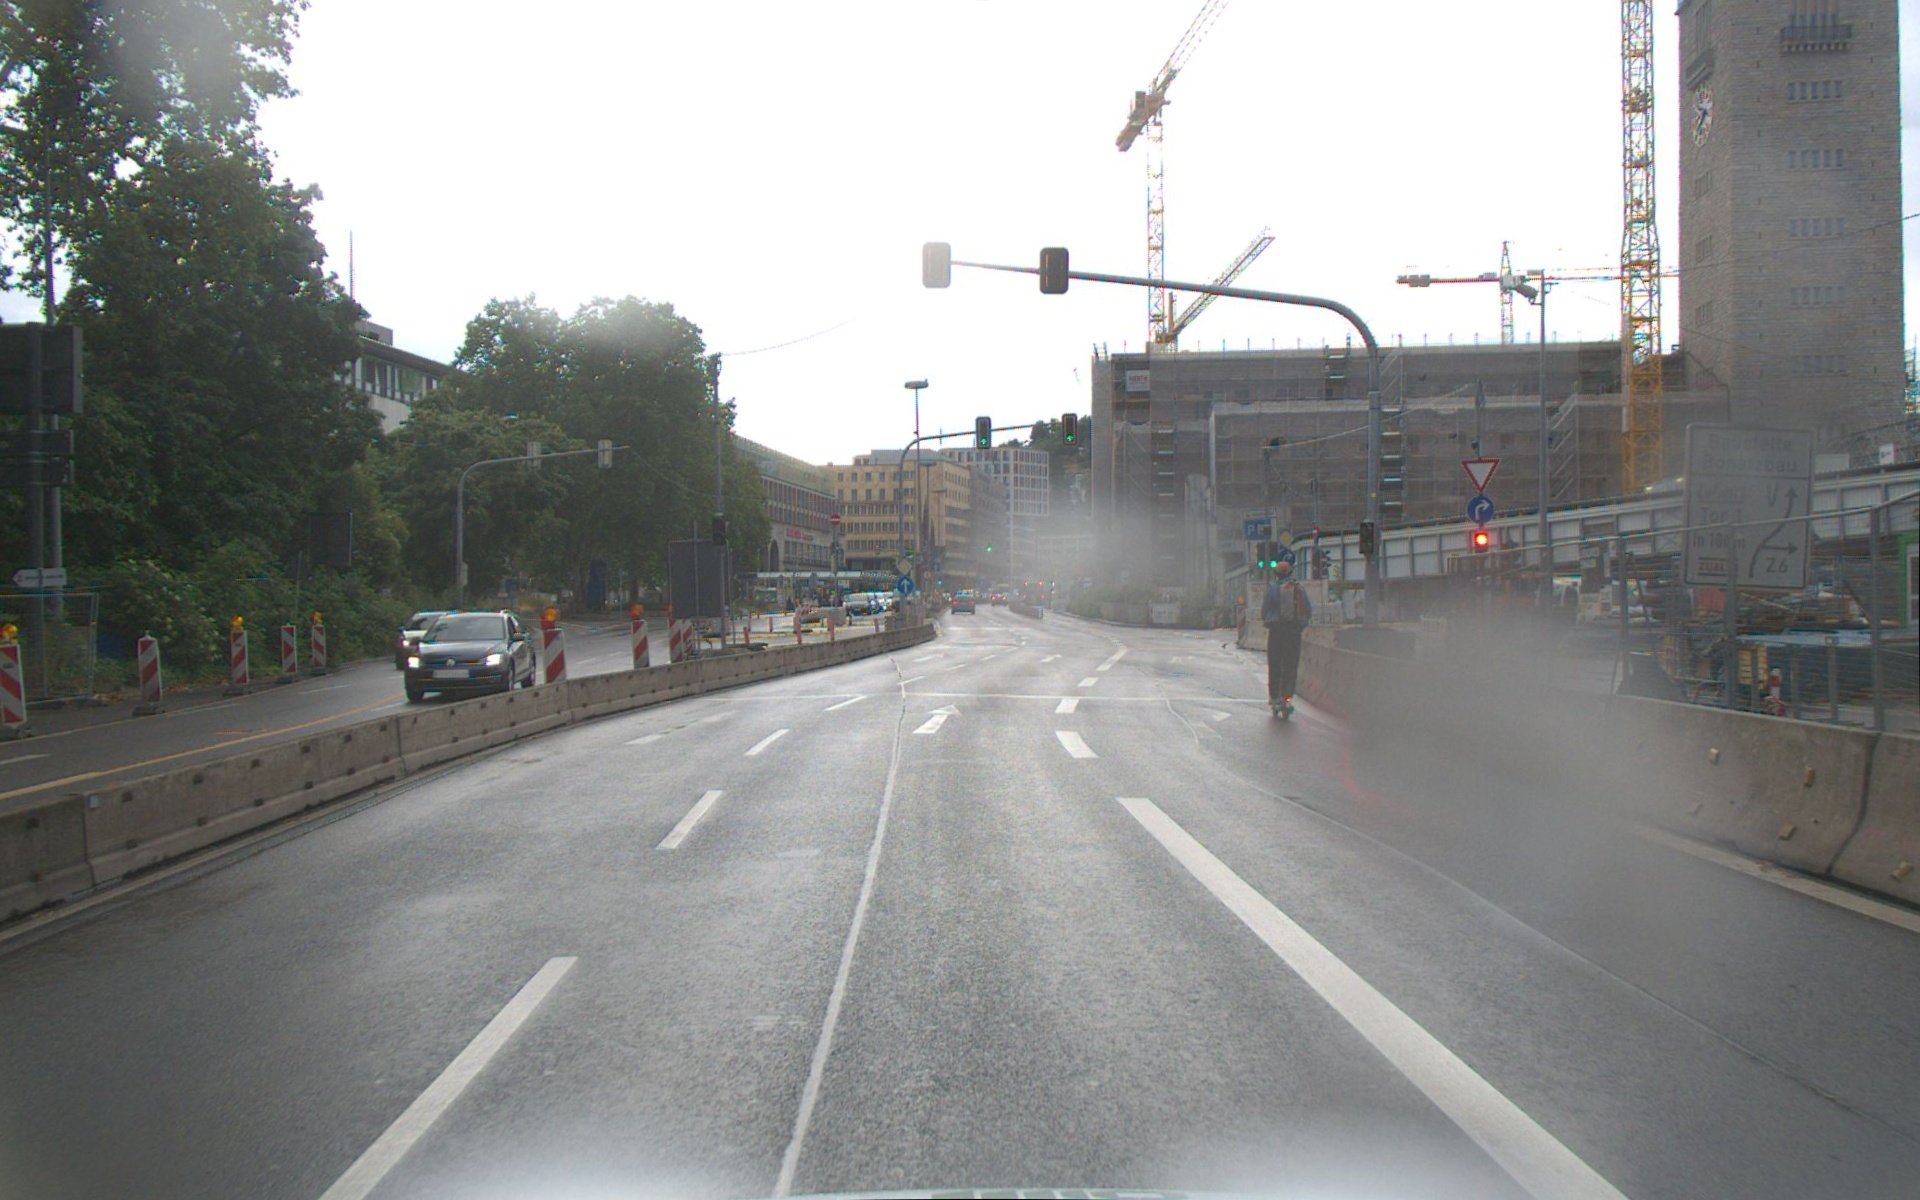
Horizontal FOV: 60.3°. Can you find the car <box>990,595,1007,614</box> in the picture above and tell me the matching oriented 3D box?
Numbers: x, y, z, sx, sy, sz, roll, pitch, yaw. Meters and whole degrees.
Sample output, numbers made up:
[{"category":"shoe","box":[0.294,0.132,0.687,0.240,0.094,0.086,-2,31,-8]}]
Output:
[{"category":"car","box":[4.672,0.575,201.948,1.952,2.049,4.000,-2,-2,2]}]

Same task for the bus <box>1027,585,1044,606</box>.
[{"category":"bus","box":[9.922,-0.606,217.590,1.951,2.474,4.002,-3,-2,6]}]

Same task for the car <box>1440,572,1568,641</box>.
[{"category":"car","box":[16.680,0.183,51.013,1.874,2.010,5.157,0,0,-5]}]

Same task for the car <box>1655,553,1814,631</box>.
[{"category":"car","box":[25.080,-0.233,53.820,2.005,2.354,5.597,-2,0,-7]}]

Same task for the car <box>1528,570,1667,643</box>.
[{"category":"car","box":[17.252,0.121,45.059,1.808,1.838,5.086,0,1,0]}]

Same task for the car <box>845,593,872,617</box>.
[{"category":"car","box":[-7.584,0.371,124.131,1.864,1.555,4.175,-2,-2,-2]}]

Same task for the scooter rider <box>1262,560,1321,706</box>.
[{"category":"scooter rider","box":[4.202,0.411,20.994,0.585,1.817,0.997,0,0,3]}]

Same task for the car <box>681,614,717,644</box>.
[{"category":"car","box":[-14.516,1.596,92.142,1.732,1.488,4.171,-3,0,-6]}]

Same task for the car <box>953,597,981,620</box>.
[{"category":"car","box":[0.517,0.650,124.611,1.864,1.555,4.175,-2,-2,-2]}]

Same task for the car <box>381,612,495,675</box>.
[{"category":"car","box":[-14.284,1.223,45.514,1.954,1.568,4.441,-2,-2,-4]}]

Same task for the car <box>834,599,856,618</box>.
[{"category":"car","box":[-10.607,0.813,152.908,1.864,1.555,4.175,-2,-2,-2]}]

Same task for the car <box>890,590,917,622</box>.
[{"category":"car","box":[-4.256,0.479,124.699,1.864,2.119,4.175,-2,-2,-2]}]

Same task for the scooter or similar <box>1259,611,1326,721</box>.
[{"category":"scooter or similar","box":[4.208,0.809,21.009,0.585,1.342,1.668,0,0,3]}]

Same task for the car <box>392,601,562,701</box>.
[{"category":"car","box":[-8.567,0.943,29.744,1.954,1.568,4.575,-2,-2,-4]}]
